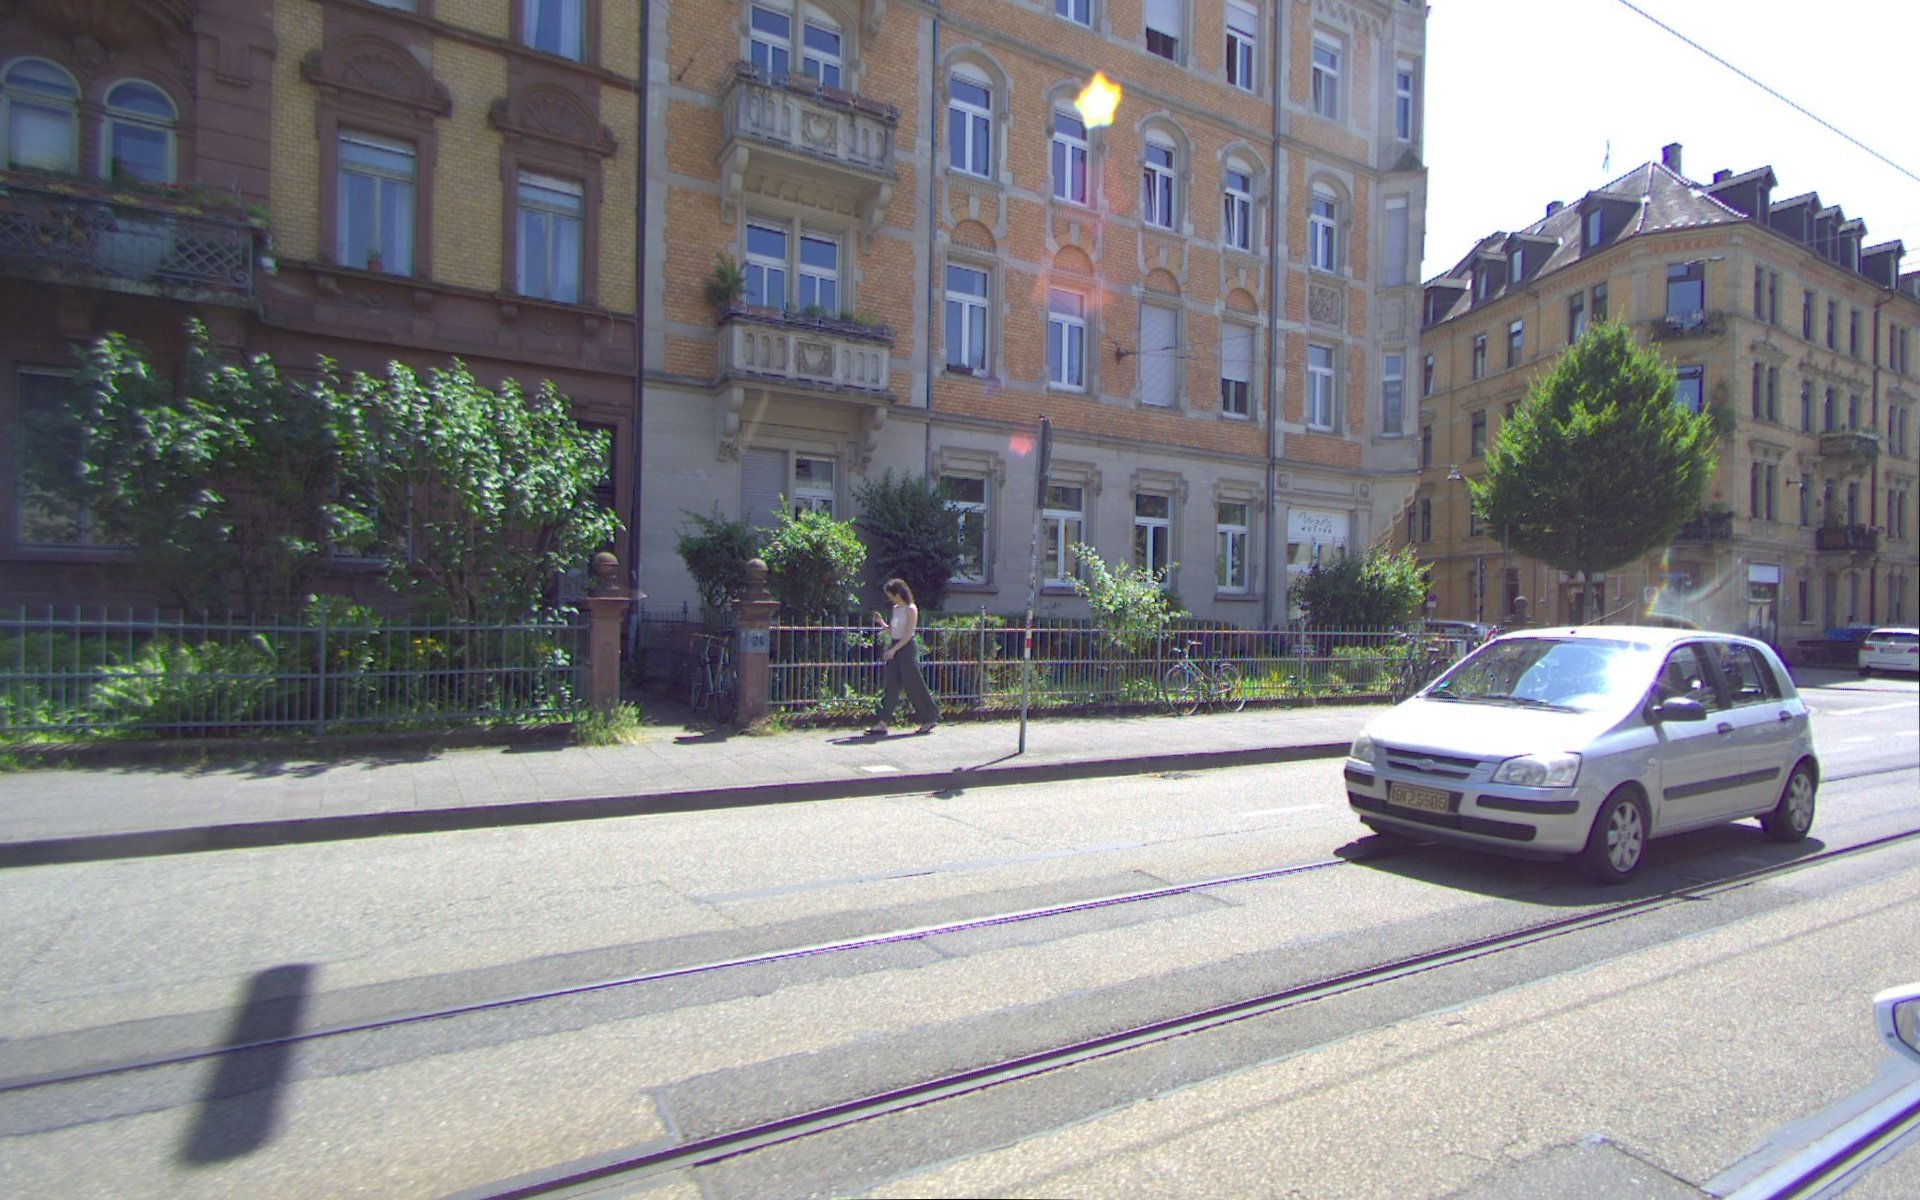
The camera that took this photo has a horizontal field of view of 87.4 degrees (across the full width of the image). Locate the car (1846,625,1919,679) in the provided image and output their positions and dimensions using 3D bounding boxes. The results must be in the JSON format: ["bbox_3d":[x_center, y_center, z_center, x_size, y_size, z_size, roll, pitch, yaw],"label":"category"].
[{"bbox_3d":[30.771,1.683,32.846,4.062,1.621,1.853,2,0,-36],"label":"car"}]

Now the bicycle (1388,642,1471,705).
[{"bbox_3d":[7.921,1.218,16.925,1.692,0.996,0.436,1,-1,-33],"label":"bicycle"}]

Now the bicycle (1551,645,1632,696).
[{"bbox_3d":[16.506,1.839,26.277,1.814,1.244,0.502,2,-2,-2],"label":"bicycle"}]

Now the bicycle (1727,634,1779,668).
[{"bbox_3d":[28.368,1.817,35.923,2.117,1.203,0.636,1,-1,-28],"label":"bicycle"}]

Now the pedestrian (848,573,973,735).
[{"bbox_3d":[-0.570,0.585,11.483,1.125,1.746,0.847,1,1,-30],"label":"pedestrian"}]

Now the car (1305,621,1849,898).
[{"bbox_3d":[4.445,0.903,7.107,3.954,1.468,1.676,1,-2,-31],"label":"car"}]

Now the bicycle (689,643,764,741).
[{"bbox_3d":[-2.798,1.054,11.951,0.489,1.057,1.504,1,-2,-28],"label":"bicycle"}]

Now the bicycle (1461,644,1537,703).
[{"bbox_3d":[9.654,1.294,17.957,1.692,0.996,0.436,1,-1,-33],"label":"bicycle"}]

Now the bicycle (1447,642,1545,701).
[{"bbox_3d":[10.355,1.367,19.467,0.544,1.050,1.700,1,-1,-25],"label":"bicycle"}]

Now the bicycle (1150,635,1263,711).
[{"bbox_3d":[3.538,1.016,14.356,1.692,1.000,0.493,1,3,-33],"label":"bicycle"}]

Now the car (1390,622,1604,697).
[{"bbox_3d":[11.436,1.228,21.619,1.693,1.447,3.743,2,-2,-29],"label":"car"}]

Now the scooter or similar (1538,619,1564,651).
[{"bbox_3d":[23.867,1.422,40.579,0.486,1.290,1.283,-1,-2,11],"label":"scooter or similar"}]
